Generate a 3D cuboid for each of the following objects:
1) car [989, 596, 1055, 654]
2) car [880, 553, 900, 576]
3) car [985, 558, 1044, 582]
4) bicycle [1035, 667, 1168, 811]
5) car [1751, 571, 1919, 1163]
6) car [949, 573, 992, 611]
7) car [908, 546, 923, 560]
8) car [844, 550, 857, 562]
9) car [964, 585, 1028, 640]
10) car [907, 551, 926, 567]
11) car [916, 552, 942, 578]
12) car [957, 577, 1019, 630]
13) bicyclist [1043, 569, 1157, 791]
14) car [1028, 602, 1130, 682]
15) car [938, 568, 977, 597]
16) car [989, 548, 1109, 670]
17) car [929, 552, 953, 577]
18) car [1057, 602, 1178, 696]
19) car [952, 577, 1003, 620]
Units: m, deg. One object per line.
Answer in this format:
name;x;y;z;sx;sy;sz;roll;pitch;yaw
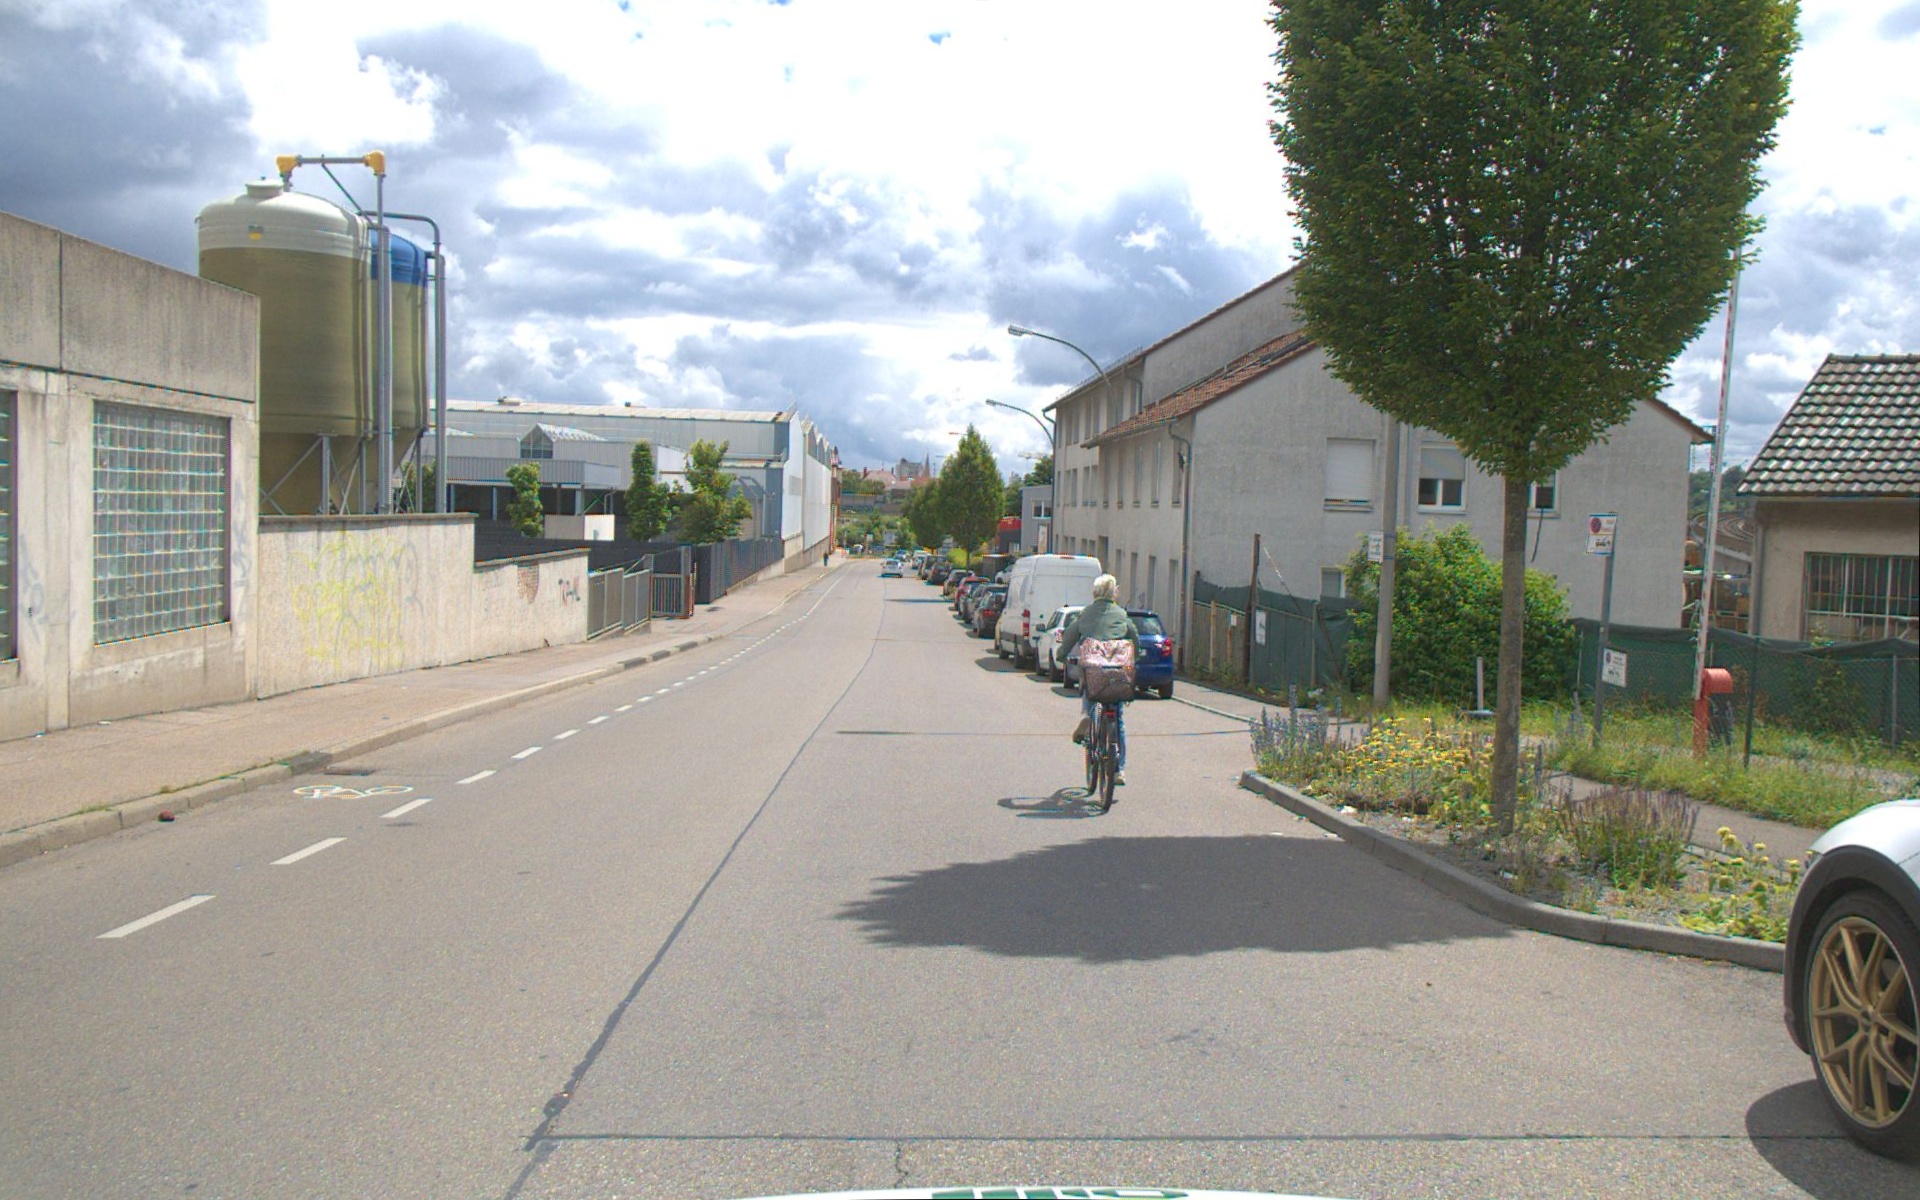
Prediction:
car;1.722;0.686;46.971;1.561;1.472;3.789;2;1;-2
car;-5.745;-2.898;135.226;1.536;1.817;3.603;2;0;-3
car;3.665;-2.007;111.342;1.710;1.488;4.014;-3;3;-41
bicycle;1.062;1.041;12.798;0.726;0.992;1.730;2;-2;-5
car;3.497;0.714;3.153;1.804;1.593;4.465;0;0;-1
car;0.436;-0.370;74.915;1.700;1.498;4.260;2;2;-3
car;-5.033;-5.350;187.265;1.667;1.554;3.737;2;2;-1
car;-16.041;-6.478;242.890;1.816;1.512;3.997;2;0;-3
car;1.194;0.380;57.068;1.671;1.536;5.085;4;2;-4
car;-4.653;-4.392;176.400;1.669;1.553;3.733;4;2;-7
car;-2.522;-2.829;132.375;1.832;2.024;5.141;2;1;-3
car;1.023;0.086;62.644;1.645;1.666;4.791;3;2;-7
bicyclist;1.076;0.603;12.816;0.725;1.655;0.731;2;0;-6
car;2.436;0.829;34.635;1.561;1.536;3.787;2;0;-4
car;-0.158;-0.997;90.889;1.756;1.491;4.705;2;1;-4
car;2.072;0.198;40.752;1.993;2.687;7.277;2;0;-4
car;-1.362;-2.519;117.453;1.645;1.666;4.122;2;1;-1
car;2.767;0.822;29.800;1.536;1.536;4.091;2;0;-3
car;0.687;-0.090;68.213;1.701;1.448;4.858;2;2;-4
